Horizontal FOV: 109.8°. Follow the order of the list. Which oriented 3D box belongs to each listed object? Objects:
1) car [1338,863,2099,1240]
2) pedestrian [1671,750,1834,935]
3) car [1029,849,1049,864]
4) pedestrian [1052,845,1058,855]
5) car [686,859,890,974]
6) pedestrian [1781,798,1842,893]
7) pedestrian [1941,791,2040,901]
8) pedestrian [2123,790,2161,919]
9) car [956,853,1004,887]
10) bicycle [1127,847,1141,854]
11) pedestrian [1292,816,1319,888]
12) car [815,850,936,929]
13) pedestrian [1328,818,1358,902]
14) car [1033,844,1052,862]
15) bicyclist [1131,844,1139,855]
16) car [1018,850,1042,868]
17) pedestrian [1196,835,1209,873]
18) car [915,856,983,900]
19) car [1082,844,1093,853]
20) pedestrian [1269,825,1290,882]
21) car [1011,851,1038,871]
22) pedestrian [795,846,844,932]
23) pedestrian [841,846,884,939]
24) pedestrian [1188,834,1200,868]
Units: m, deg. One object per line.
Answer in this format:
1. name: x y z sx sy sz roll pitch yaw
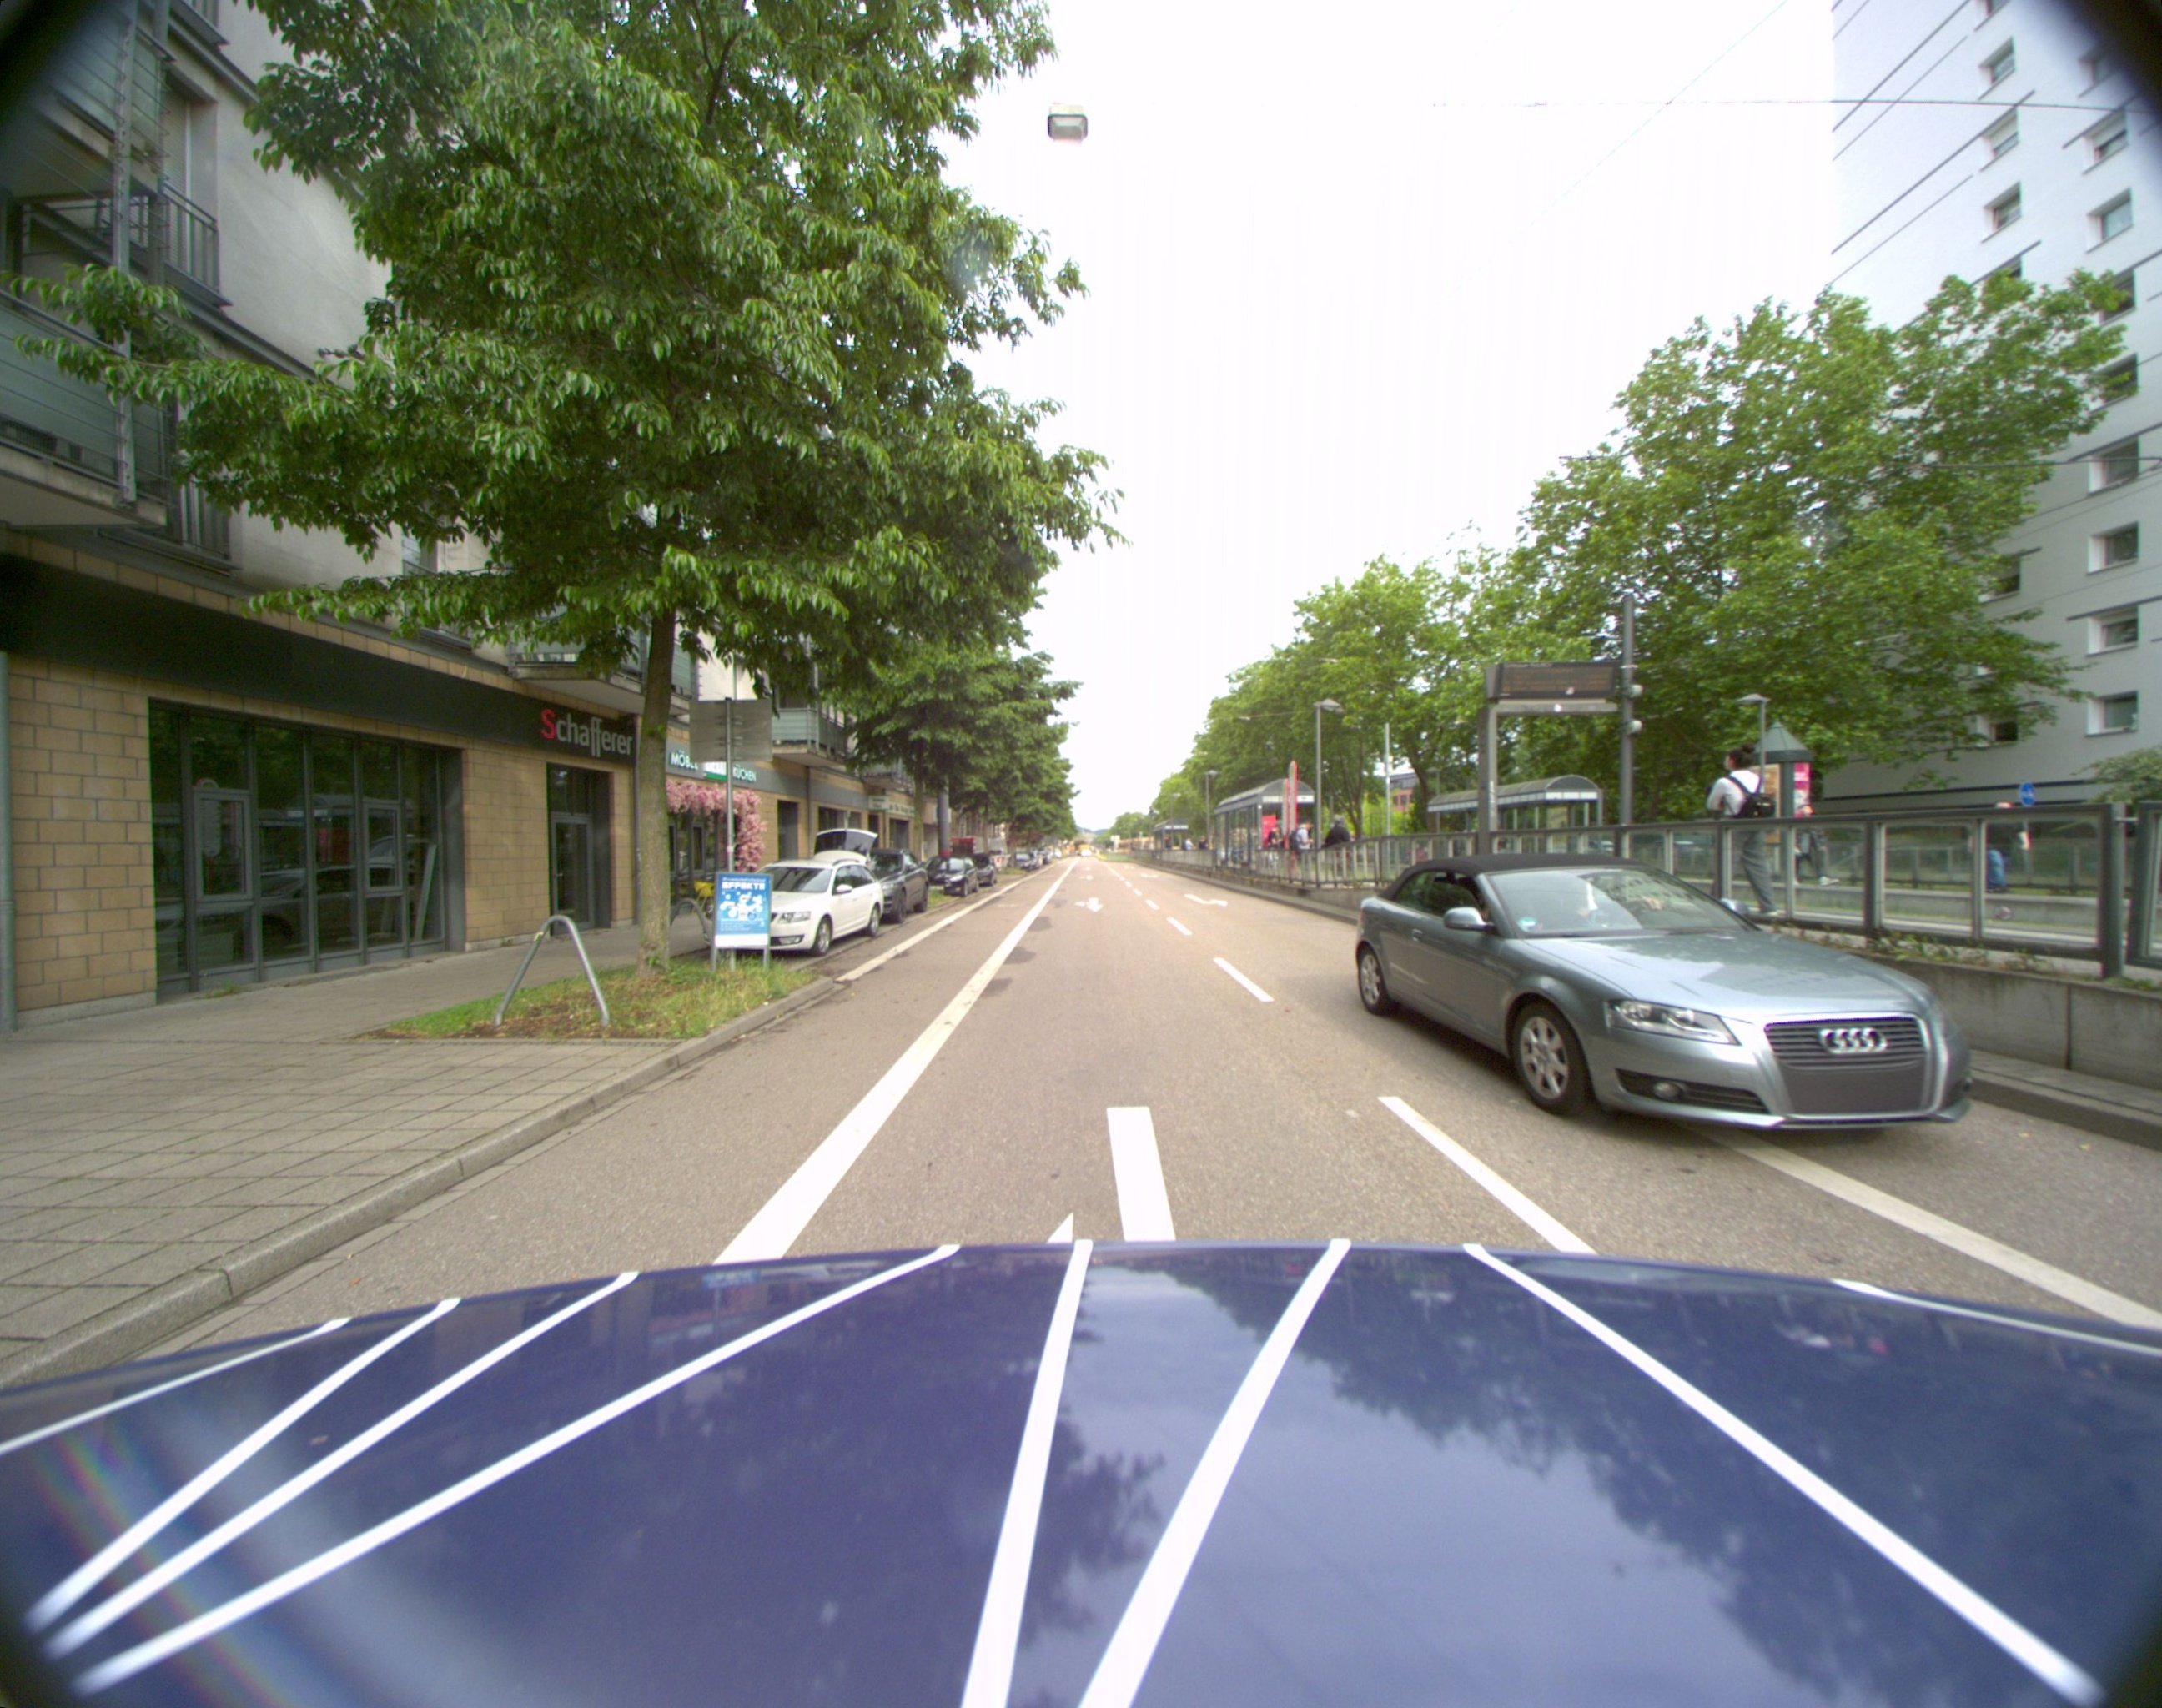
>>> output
1. car: 3.288 0.833 5.136 1.716 1.379 4.099 -2 1 1
2. pedestrian: 6.490 -0.106 7.407 0.720 1.661 0.979 -2 1 3
3. car: -3.970 0.218 72.438 1.612 1.393 3.667 2 1 1
4. pedestrian: -5.722 -0.908 166.063 1.216 2.002 1.143 -1 1 1
5. car: -4.719 0.906 12.989 1.738 1.512 4.308 2 1 1
6. pedestrian: 15.139 -0.170 15.765 0.699 1.919 0.554 -2 1 1
7. pedestrian: 15.714 -0.142 13.143 0.882 1.823 0.666 -2 1 1
8. pedestrian: 15.015 -0.008 10.200 0.882 1.746 0.850 -2 1 1
9. car: -4.557 0.691 34.724 1.612 1.393 3.667 2 1 1
10. bicycle: 6.921 -0.467 98.871 1.785 0.925 0.490 -3 1 -32
11. pedestrian: 5.748 -0.060 19.470 0.475 1.794 0.605 -2 1 5
12. car: -4.715 0.747 17.991 1.738 1.601 3.798 2 1 1
13. pedestrian: 5.706 0.122 16.567 0.521 1.794 0.605 -2 1 13
14. car: -3.964 -0.131 78.209 1.612 1.674 3.806 2 1 1
15. bicyclist: 7.011 -0.612 98.979 0.814 1.458 0.724 -2 1 -32
16. car: -4.125 0.373 62.152 1.612 1.393 3.667 2 1 1
17. pedestrian: 5.847 0.004 36.511 0.530 1.794 0.606 -2 1 14
18. car: -4.637 0.800 27.263 1.612 1.369 4.167 2 1 1
19. car: 1.442 -1.296 173.613 2.000 2.002 4.194 -2 1 -8
20. pedestrian: 6.312 -0.025 24.187 0.474 1.794 0.606 -2 1 26
21. car: -4.164 0.487 56.273 1.612 1.393 3.667 2 1 1
22. pedestrian: -5.340 0.695 15.552 0.737 1.707 0.618 1 1 8
23. pedestrian: -4.520 0.779 15.731 0.656 1.873 0.599 -1 1 1
24. pedestrian: 6.140 -0.174 41.328 0.530 1.794 0.606 -2 1 14
